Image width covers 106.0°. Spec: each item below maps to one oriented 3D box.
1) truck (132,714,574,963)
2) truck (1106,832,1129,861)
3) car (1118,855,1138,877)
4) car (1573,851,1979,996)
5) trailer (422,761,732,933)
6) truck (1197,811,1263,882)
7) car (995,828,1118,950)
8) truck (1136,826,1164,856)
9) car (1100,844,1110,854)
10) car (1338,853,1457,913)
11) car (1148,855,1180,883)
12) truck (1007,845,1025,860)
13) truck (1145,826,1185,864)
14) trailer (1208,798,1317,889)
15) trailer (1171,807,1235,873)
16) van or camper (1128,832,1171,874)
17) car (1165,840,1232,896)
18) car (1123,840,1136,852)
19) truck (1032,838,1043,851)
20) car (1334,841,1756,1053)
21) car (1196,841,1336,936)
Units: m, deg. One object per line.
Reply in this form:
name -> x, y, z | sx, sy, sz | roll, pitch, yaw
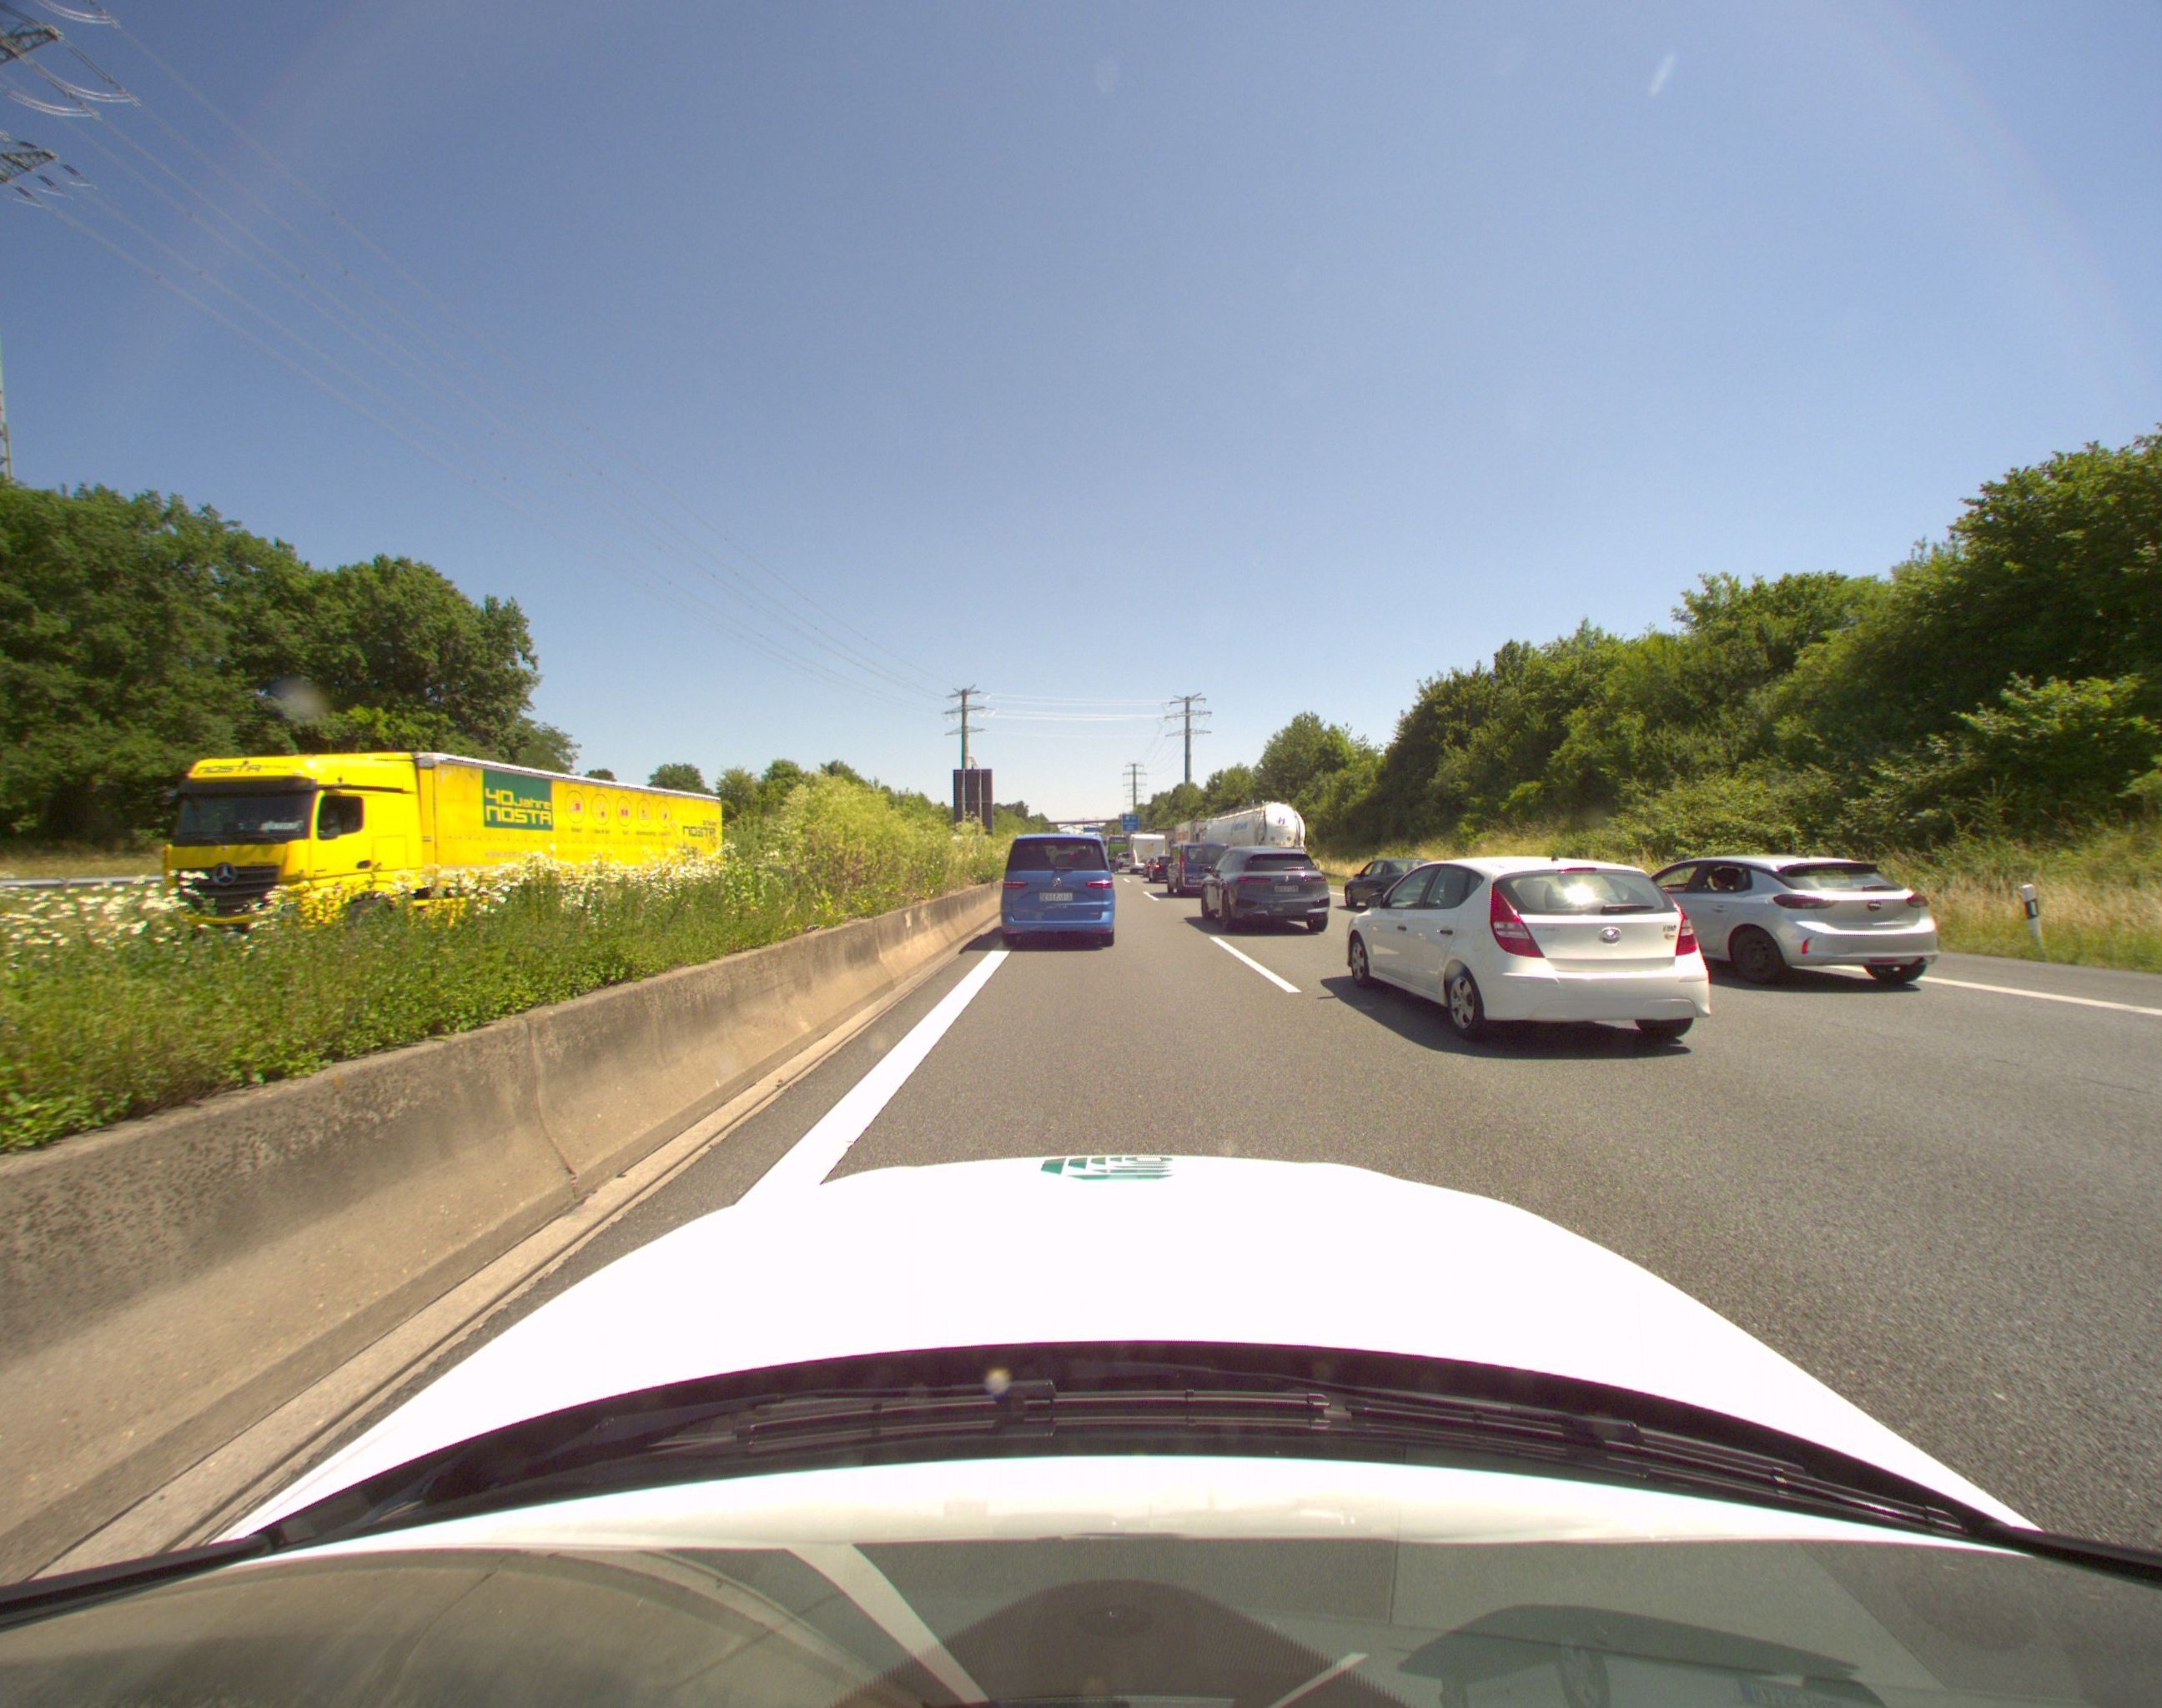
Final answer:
truck -> -14.759, -0.216, 17.637 | 2.768, 4.237, 7.325 | 1, -1, 1
truck -> 4.877, -0.925, 111.426 | 2.885, 3.766, 10.141 | 0, -1, 1
car -> 4.513, 1.142, 78.645 | 1.829, 1.998, 4.001 | -2, -1, 2
car -> 8.346, 0.700, 10.360 | 1.725, 1.443, 4.028 | -1, 0, 0
trailer -> -14.693, -0.103, 25.402 | 2.812, 4.207, 10.685 | 1, -1, 1
truck -> 8.595, -0.406, 47.517 | 2.784, 3.836, 5.570 | -1, 0, 0
car -> -0.378, 0.547, 14.802 | 1.914, 1.886, 4.000 | 1, 0, 0
truck -> 9.309, -1.691, 111.622 | 2.885, 3.766, 13.346 | 0, -1, 1
car -> 5.346, -1.143, 180.510 | 1.987, 2.126, 3.999 | 0, -1, 0
car -> 8.290, 0.727, 21.694 | 1.636, 1.416, 3.989 | -2, -1, 1
car -> 4.496, 0.828, 44.529 | 1.356, 1.420, 3.885 | -2, -1, 1
truck -> -14.317, -0.278, 180.099 | 2.755, 3.288, 11.822 | -1, 0, 1
truck -> 8.987, -0.862, 89.163 | 2.995, 3.766, 15.714 | 0, 0, 1
trailer -> 8.624, -0.429, 40.395 | 2.752, 3.845, 11.483 | -1, 0, 0
trailer -> 9.068, -0.942, 62.082 | 2.903, 4.469, 12.151 | -1, 0, 0
van or camper -> 5.255, -0.046, 63.471 | 2.946, 3.022, 7.105 | 0, -1, 2
car -> 4.323, 0.520, 30.569 | 1.917, 1.925, 4.236 | -2, -1, 1
car -> 8.547, -1.466, 143.626 | 1.987, 2.014, 4.000 | 0, -1, 0
truck -> -12.771, -2.866, 240.131 | 3.062, 3.709, 5.461 | -1, 0, 0
car -> 3.941, 0.697, 7.837 | 1.811, 1.485, 4.000 | -1, -1, 1
car -> 3.747, 0.671, 17.383 | 1.992, 1.715, 4.625 | -1, -1, 1
